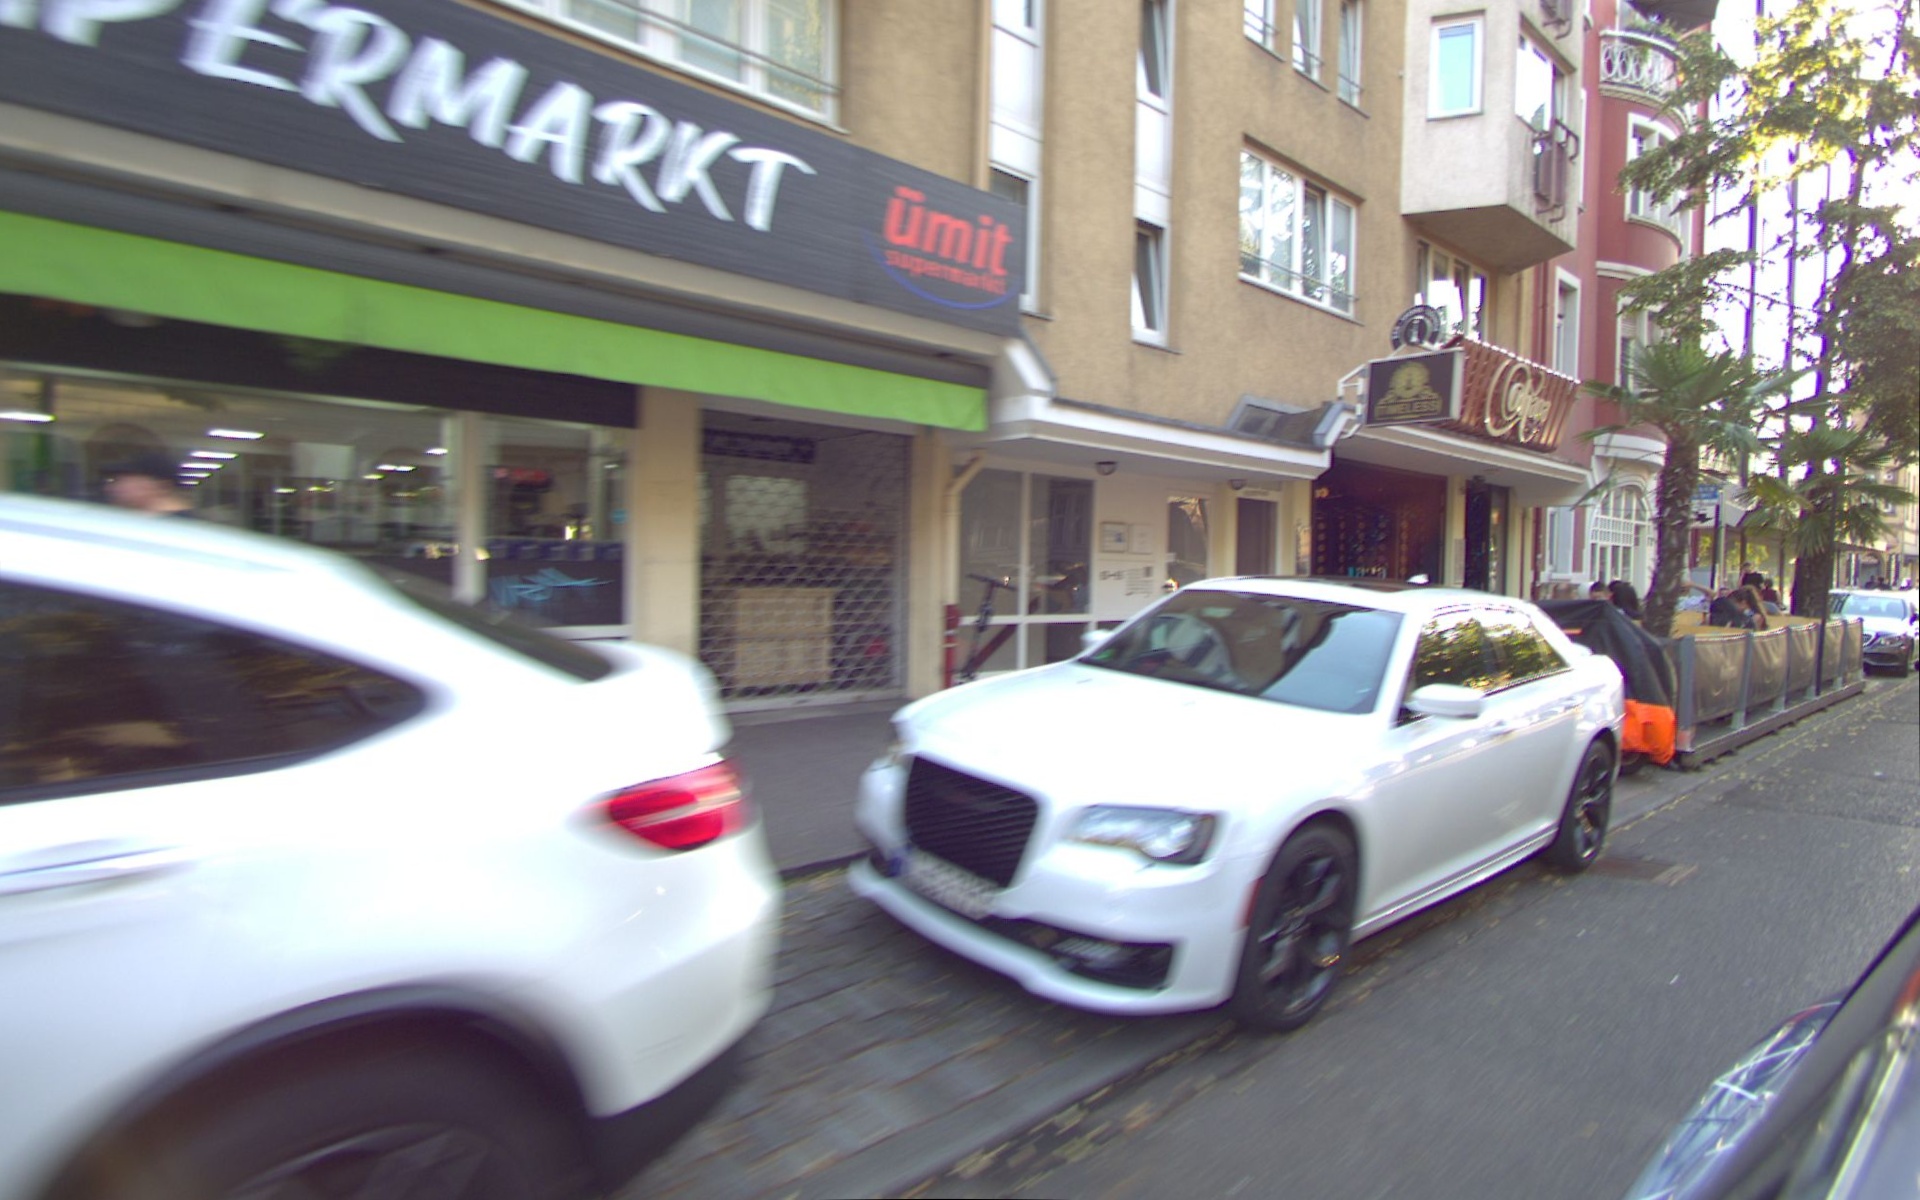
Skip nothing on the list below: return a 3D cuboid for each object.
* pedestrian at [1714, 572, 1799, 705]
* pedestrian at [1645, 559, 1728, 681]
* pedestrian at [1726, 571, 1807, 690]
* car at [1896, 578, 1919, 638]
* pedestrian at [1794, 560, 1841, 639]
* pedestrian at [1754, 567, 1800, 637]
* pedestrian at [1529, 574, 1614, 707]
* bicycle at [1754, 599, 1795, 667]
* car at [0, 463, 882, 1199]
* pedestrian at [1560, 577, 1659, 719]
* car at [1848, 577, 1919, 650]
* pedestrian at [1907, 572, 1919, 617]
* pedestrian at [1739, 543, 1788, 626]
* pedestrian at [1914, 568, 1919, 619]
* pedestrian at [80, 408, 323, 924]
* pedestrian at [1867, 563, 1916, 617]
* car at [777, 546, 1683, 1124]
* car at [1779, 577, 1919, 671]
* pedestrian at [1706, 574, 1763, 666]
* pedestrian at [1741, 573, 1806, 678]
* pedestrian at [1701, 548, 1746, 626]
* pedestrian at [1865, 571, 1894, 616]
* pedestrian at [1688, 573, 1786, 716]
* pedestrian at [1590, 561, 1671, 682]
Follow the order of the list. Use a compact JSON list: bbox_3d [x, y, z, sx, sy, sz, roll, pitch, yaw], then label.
[{"bbox_3d":[8.883,0.406,11.290,0.592,1.401,0.579,-1,4,-41],"label":"pedestrian"},{"bbox_3d":[10.182,0.255,14.184,0.781,1.618,0.709,0,4,-41],"label":"pedestrian"},{"bbox_3d":[10.749,0.378,13.493,0.781,1.503,0.633,0,4,-41],"label":"pedestrian"},{"bbox_3d":[26.224,0.215,26.723,4.671,1.510,1.726,-1,5,-42],"label":"car"},{"bbox_3d":[18.759,-0.023,22.144,0.629,1.697,0.626,0,3,-40],"label":"pedestrian"},{"bbox_3d":[18.157,0.032,22.488,0.629,1.506,0.626,0,3,-40],"label":"pedestrian"},{"bbox_3d":[6.767,0.422,11.200,0.592,1.401,0.579,-1,4,-41],"label":"pedestrian"},{"bbox_3d":[13.117,0.503,16.286,0.385,0.996,1.686,2,2,42],"label":"bicycle"},{"bbox_3d":[-2.535,0.569,1.342,4.610,1.592,1.884,-1,5,-41],"label":"car"},{"bbox_3d":[6.126,0.425,9.549,0.592,1.259,0.579,-1,4,-41],"label":"pedestrian"},{"bbox_3d":[21.760,0.273,23.015,4.342,1.488,1.778,-1,5,-42],"label":"car"},{"bbox_3d":[37.926,-0.224,39.892,0.798,1.780,0.756,-1,2,-41],"label":"pedestrian"},{"bbox_3d":[18.982,-0.376,23.906,0.959,1.890,0.627,-1,4,-41],"label":"pedestrian"},{"bbox_3d":[33.387,-0.238,34.723,0.855,1.806,0.731,-1,6,-41],"label":"pedestrian"},{"bbox_3d":[-2.926,0.202,3.901,0.688,1.725,0.789,0,3,-41],"label":"pedestrian"},{"bbox_3d":[32.687,-0.361,35.508,0.928,1.806,1.049,-1,5,-41],"label":"pedestrian"},{"bbox_3d":[1.787,0.568,5.090,5.100,1.498,1.846,-1,5,-42],"label":"car"},{"bbox_3d":[17.132,0.358,18.946,4.910,1.457,1.779,-1,5,-40],"label":"car"},{"bbox_3d":[11.901,0.296,15.554,0.430,1.361,0.549,-1,4,-41],"label":"pedestrian"},{"bbox_3d":[12.007,0.364,14.935,0.592,1.480,0.578,0,4,-41],"label":"pedestrian"},{"bbox_3d":[18.416,-0.330,24.413,0.821,1.831,0.590,-1,4,-41],"label":"pedestrian"},{"bbox_3d":[37.383,-0.283,41.151,0.798,1.780,0.756,-1,2,-41],"label":"pedestrian"},{"bbox_3d":[7.730,0.413,10.073,0.691,1.335,0.578,-1,4,-41],"label":"pedestrian"},{"bbox_3d":[8.151,0.238,12.300,0.706,1.401,0.578,-1,4,-41],"label":"pedestrian"}]
